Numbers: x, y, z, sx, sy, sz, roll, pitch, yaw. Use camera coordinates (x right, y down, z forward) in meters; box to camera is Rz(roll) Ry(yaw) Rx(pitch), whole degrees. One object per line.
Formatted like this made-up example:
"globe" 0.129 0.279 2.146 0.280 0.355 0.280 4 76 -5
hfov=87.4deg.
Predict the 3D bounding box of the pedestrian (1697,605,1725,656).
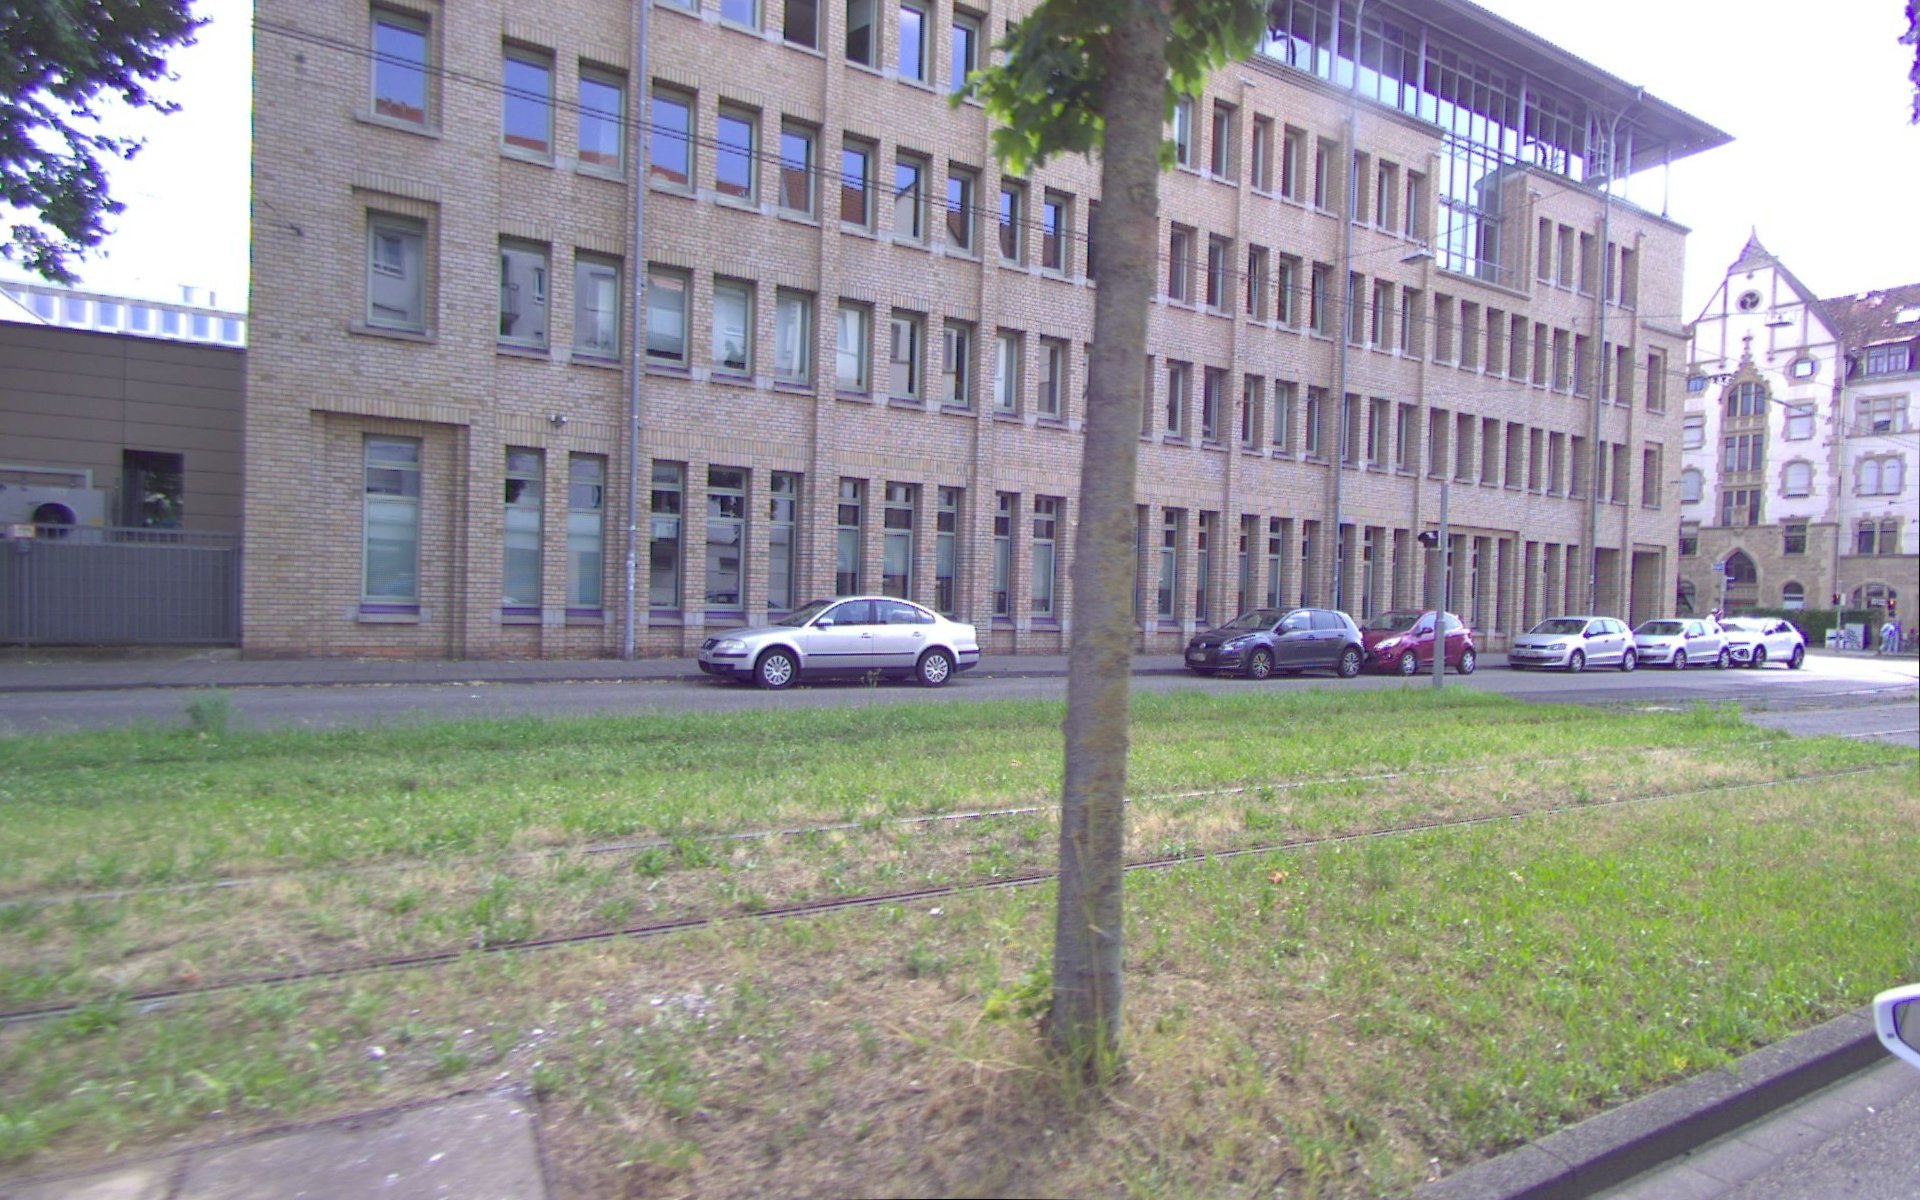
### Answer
"pedestrian" 27.500 1.110 36.810 0.750 1.819 0.957 2 1 36

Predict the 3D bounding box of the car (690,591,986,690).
"car" -1.935 0.630 16.252 4.428 1.415 1.708 2 0 -28

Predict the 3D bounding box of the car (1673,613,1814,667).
"car" 24.524 1.244 31.434 4.204 1.555 1.925 2 0 -28

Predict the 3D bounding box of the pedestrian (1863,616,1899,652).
"pedestrian" 45.564 1.673 49.697 1.003 1.745 0.776 2 1 17

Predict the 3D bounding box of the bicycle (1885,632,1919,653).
"bicycle" 52.576 2.332 55.583 0.772 1.095 1.900 2 0 -39

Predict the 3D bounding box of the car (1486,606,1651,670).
"car" 16.105 0.997 26.550 4.157 1.551 1.843 2 0 -28

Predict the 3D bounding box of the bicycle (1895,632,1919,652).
"bicycle" 54.474 2.400 57.021 0.772 1.095 1.900 2 0 -39

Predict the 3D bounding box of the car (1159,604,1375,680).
"car" 6.453 0.859 21.049 4.186 1.415 1.925 2 0 -28

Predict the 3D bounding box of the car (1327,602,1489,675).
"car" 10.383 0.876 23.246 3.505 1.551 1.576 2 0 -28

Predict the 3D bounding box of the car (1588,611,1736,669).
"car" 20.452 1.158 29.267 3.964 1.551 1.925 2 0 -28
